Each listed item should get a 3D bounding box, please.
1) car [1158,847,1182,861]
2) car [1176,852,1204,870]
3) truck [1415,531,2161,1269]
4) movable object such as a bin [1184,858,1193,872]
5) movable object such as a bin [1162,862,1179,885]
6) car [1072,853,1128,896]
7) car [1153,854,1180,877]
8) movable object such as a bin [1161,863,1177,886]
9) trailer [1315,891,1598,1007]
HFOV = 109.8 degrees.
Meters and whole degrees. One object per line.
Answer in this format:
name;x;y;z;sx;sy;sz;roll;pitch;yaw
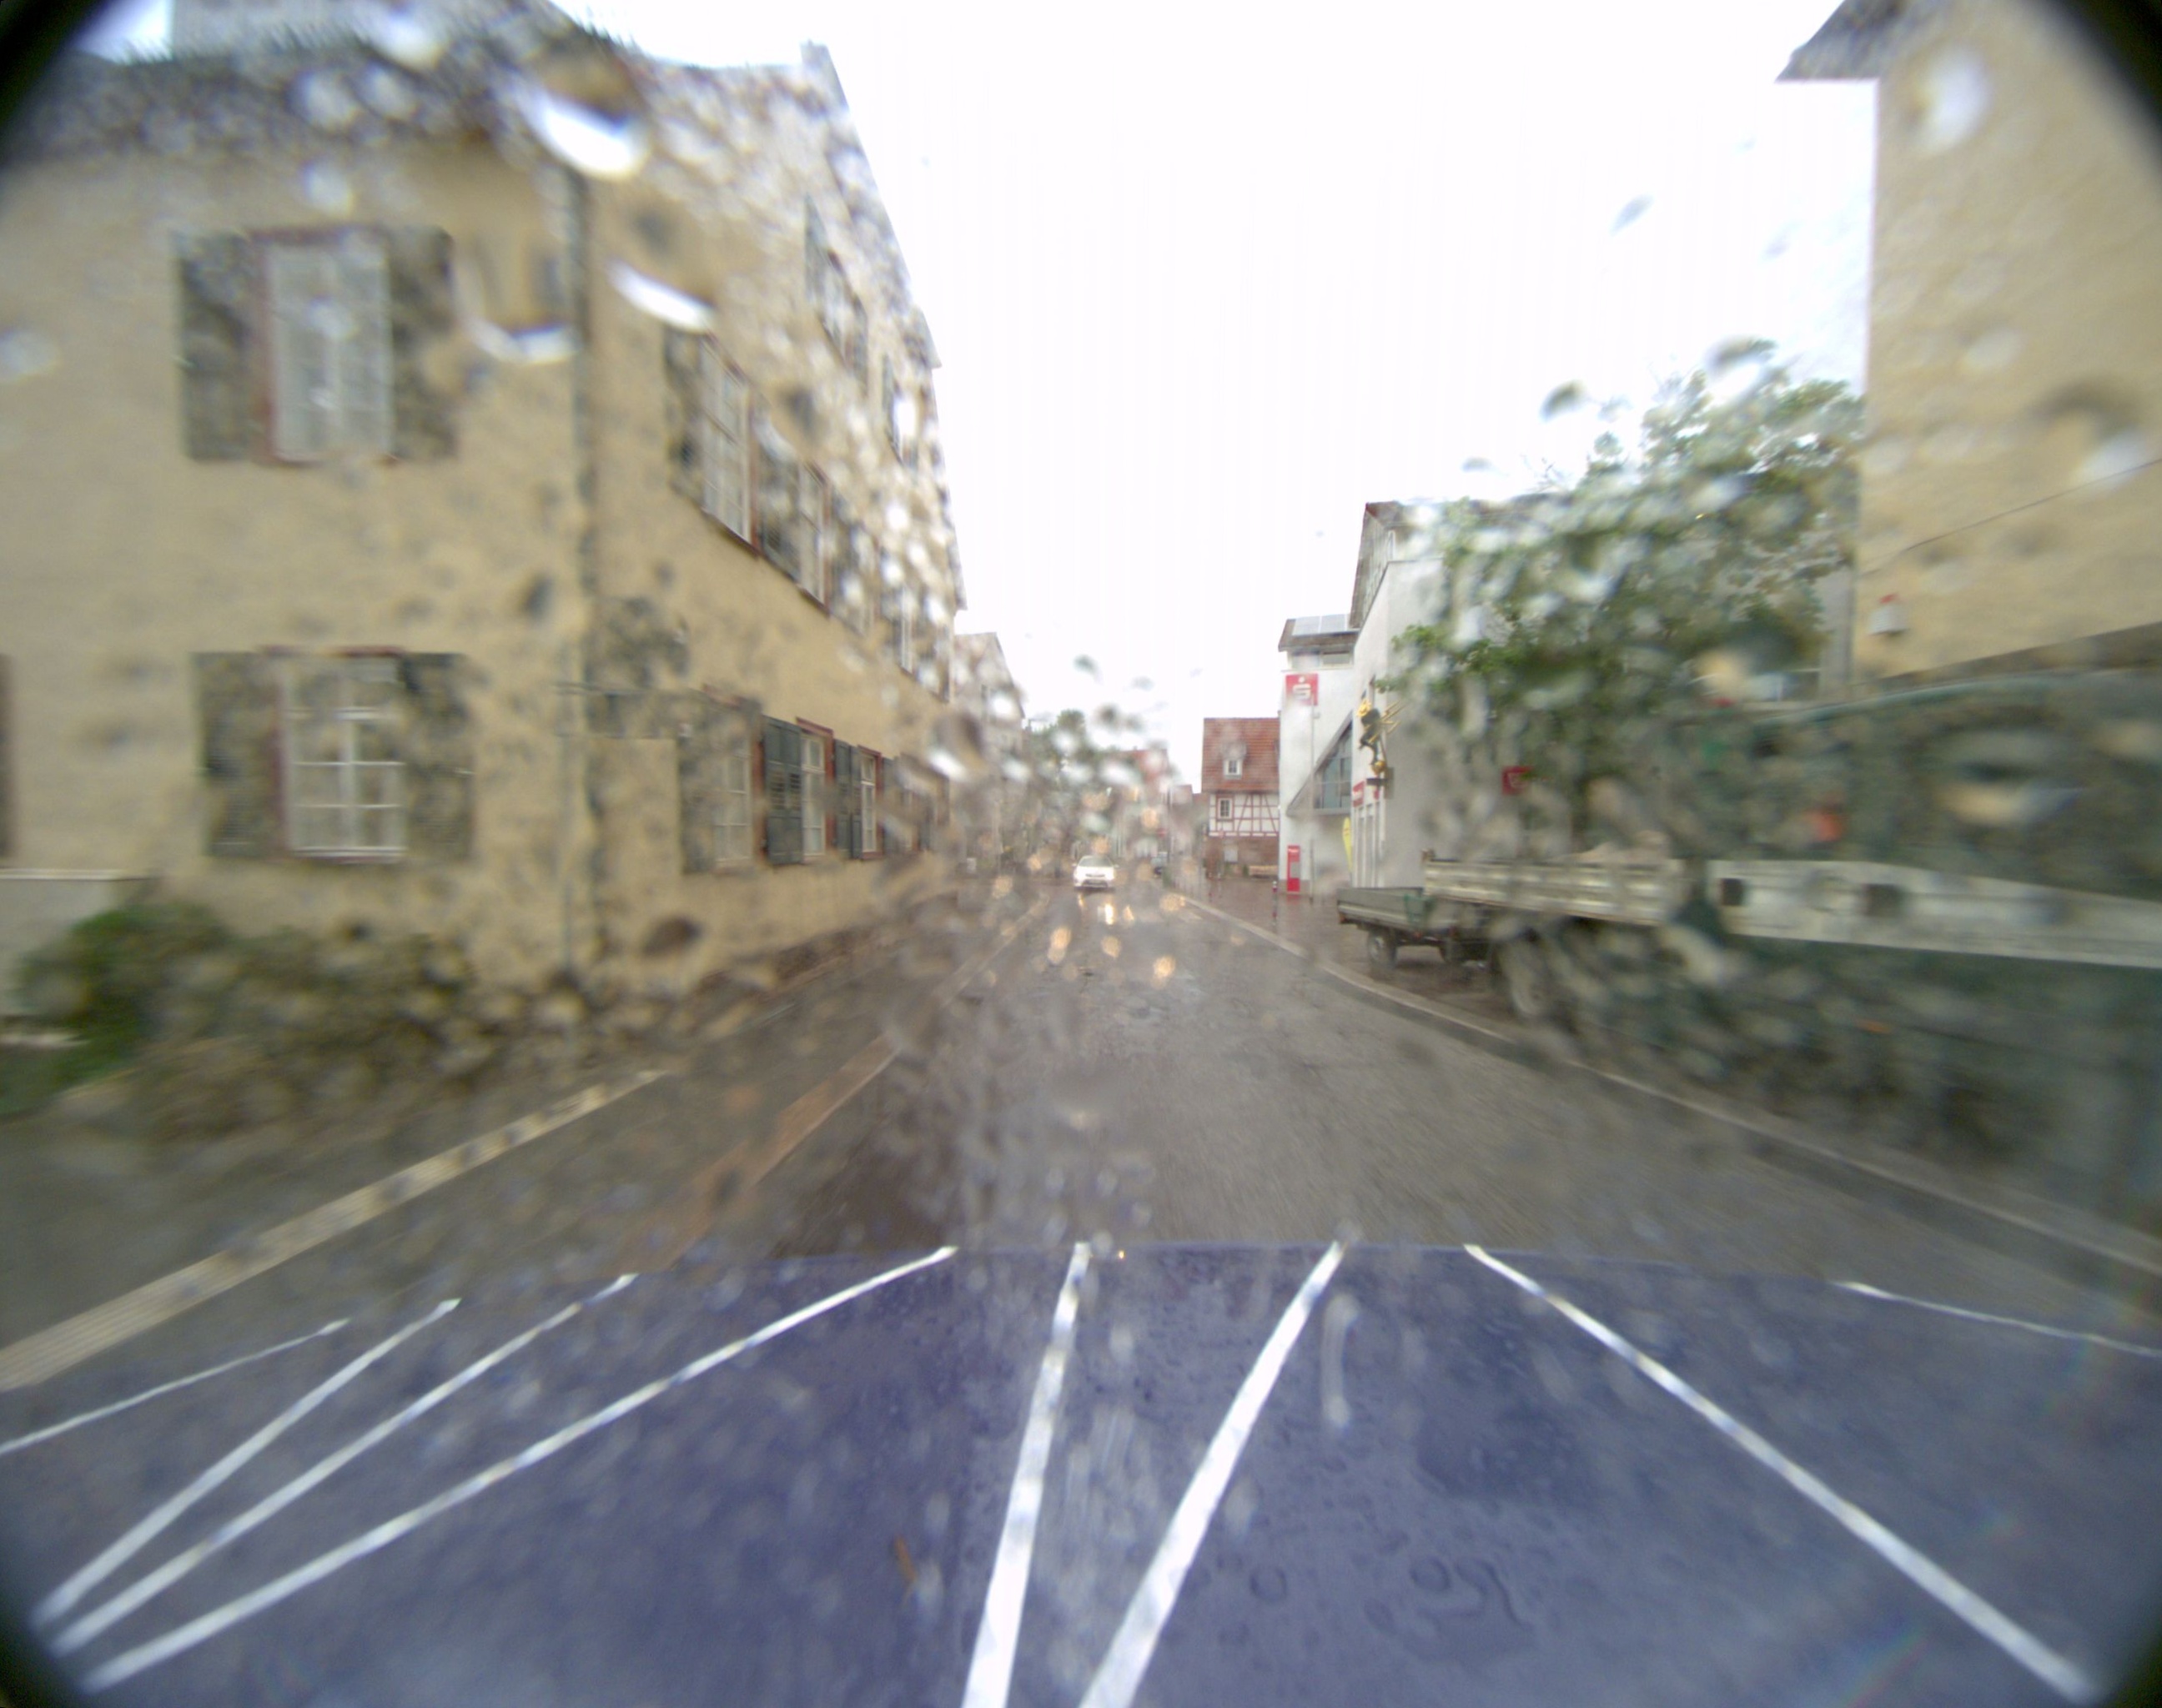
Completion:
car;9.600;-0.051;81.841;1.865;1.452;4.005;2;1;16
car;9.251;0.573;64.274;1.804;1.434;4.004;0;1;16
truck;4.850;0.213;4.655;2.406;2.579;6.482;0;-1;-4
movable object such as a bin;8.054;0.804;56.824;0.612;1.016;0.530;1;1;2
movable object such as a bin;4.302;0.948;36.590;0.697;1.071;0.645;-2;1;2
car;0.897;0.791;32.198;1.866;1.577;4.616;1;1;7
car;5.953;0.779;53.212;1.806;1.434;4.001;-1;1;6
movable object such as a bin;4.336;1.001;37.315;0.697;1.045;0.645;1;1;2
trailer;4.376;1.057;9.400;1.858;1.118;3.019;0;-1;-4
